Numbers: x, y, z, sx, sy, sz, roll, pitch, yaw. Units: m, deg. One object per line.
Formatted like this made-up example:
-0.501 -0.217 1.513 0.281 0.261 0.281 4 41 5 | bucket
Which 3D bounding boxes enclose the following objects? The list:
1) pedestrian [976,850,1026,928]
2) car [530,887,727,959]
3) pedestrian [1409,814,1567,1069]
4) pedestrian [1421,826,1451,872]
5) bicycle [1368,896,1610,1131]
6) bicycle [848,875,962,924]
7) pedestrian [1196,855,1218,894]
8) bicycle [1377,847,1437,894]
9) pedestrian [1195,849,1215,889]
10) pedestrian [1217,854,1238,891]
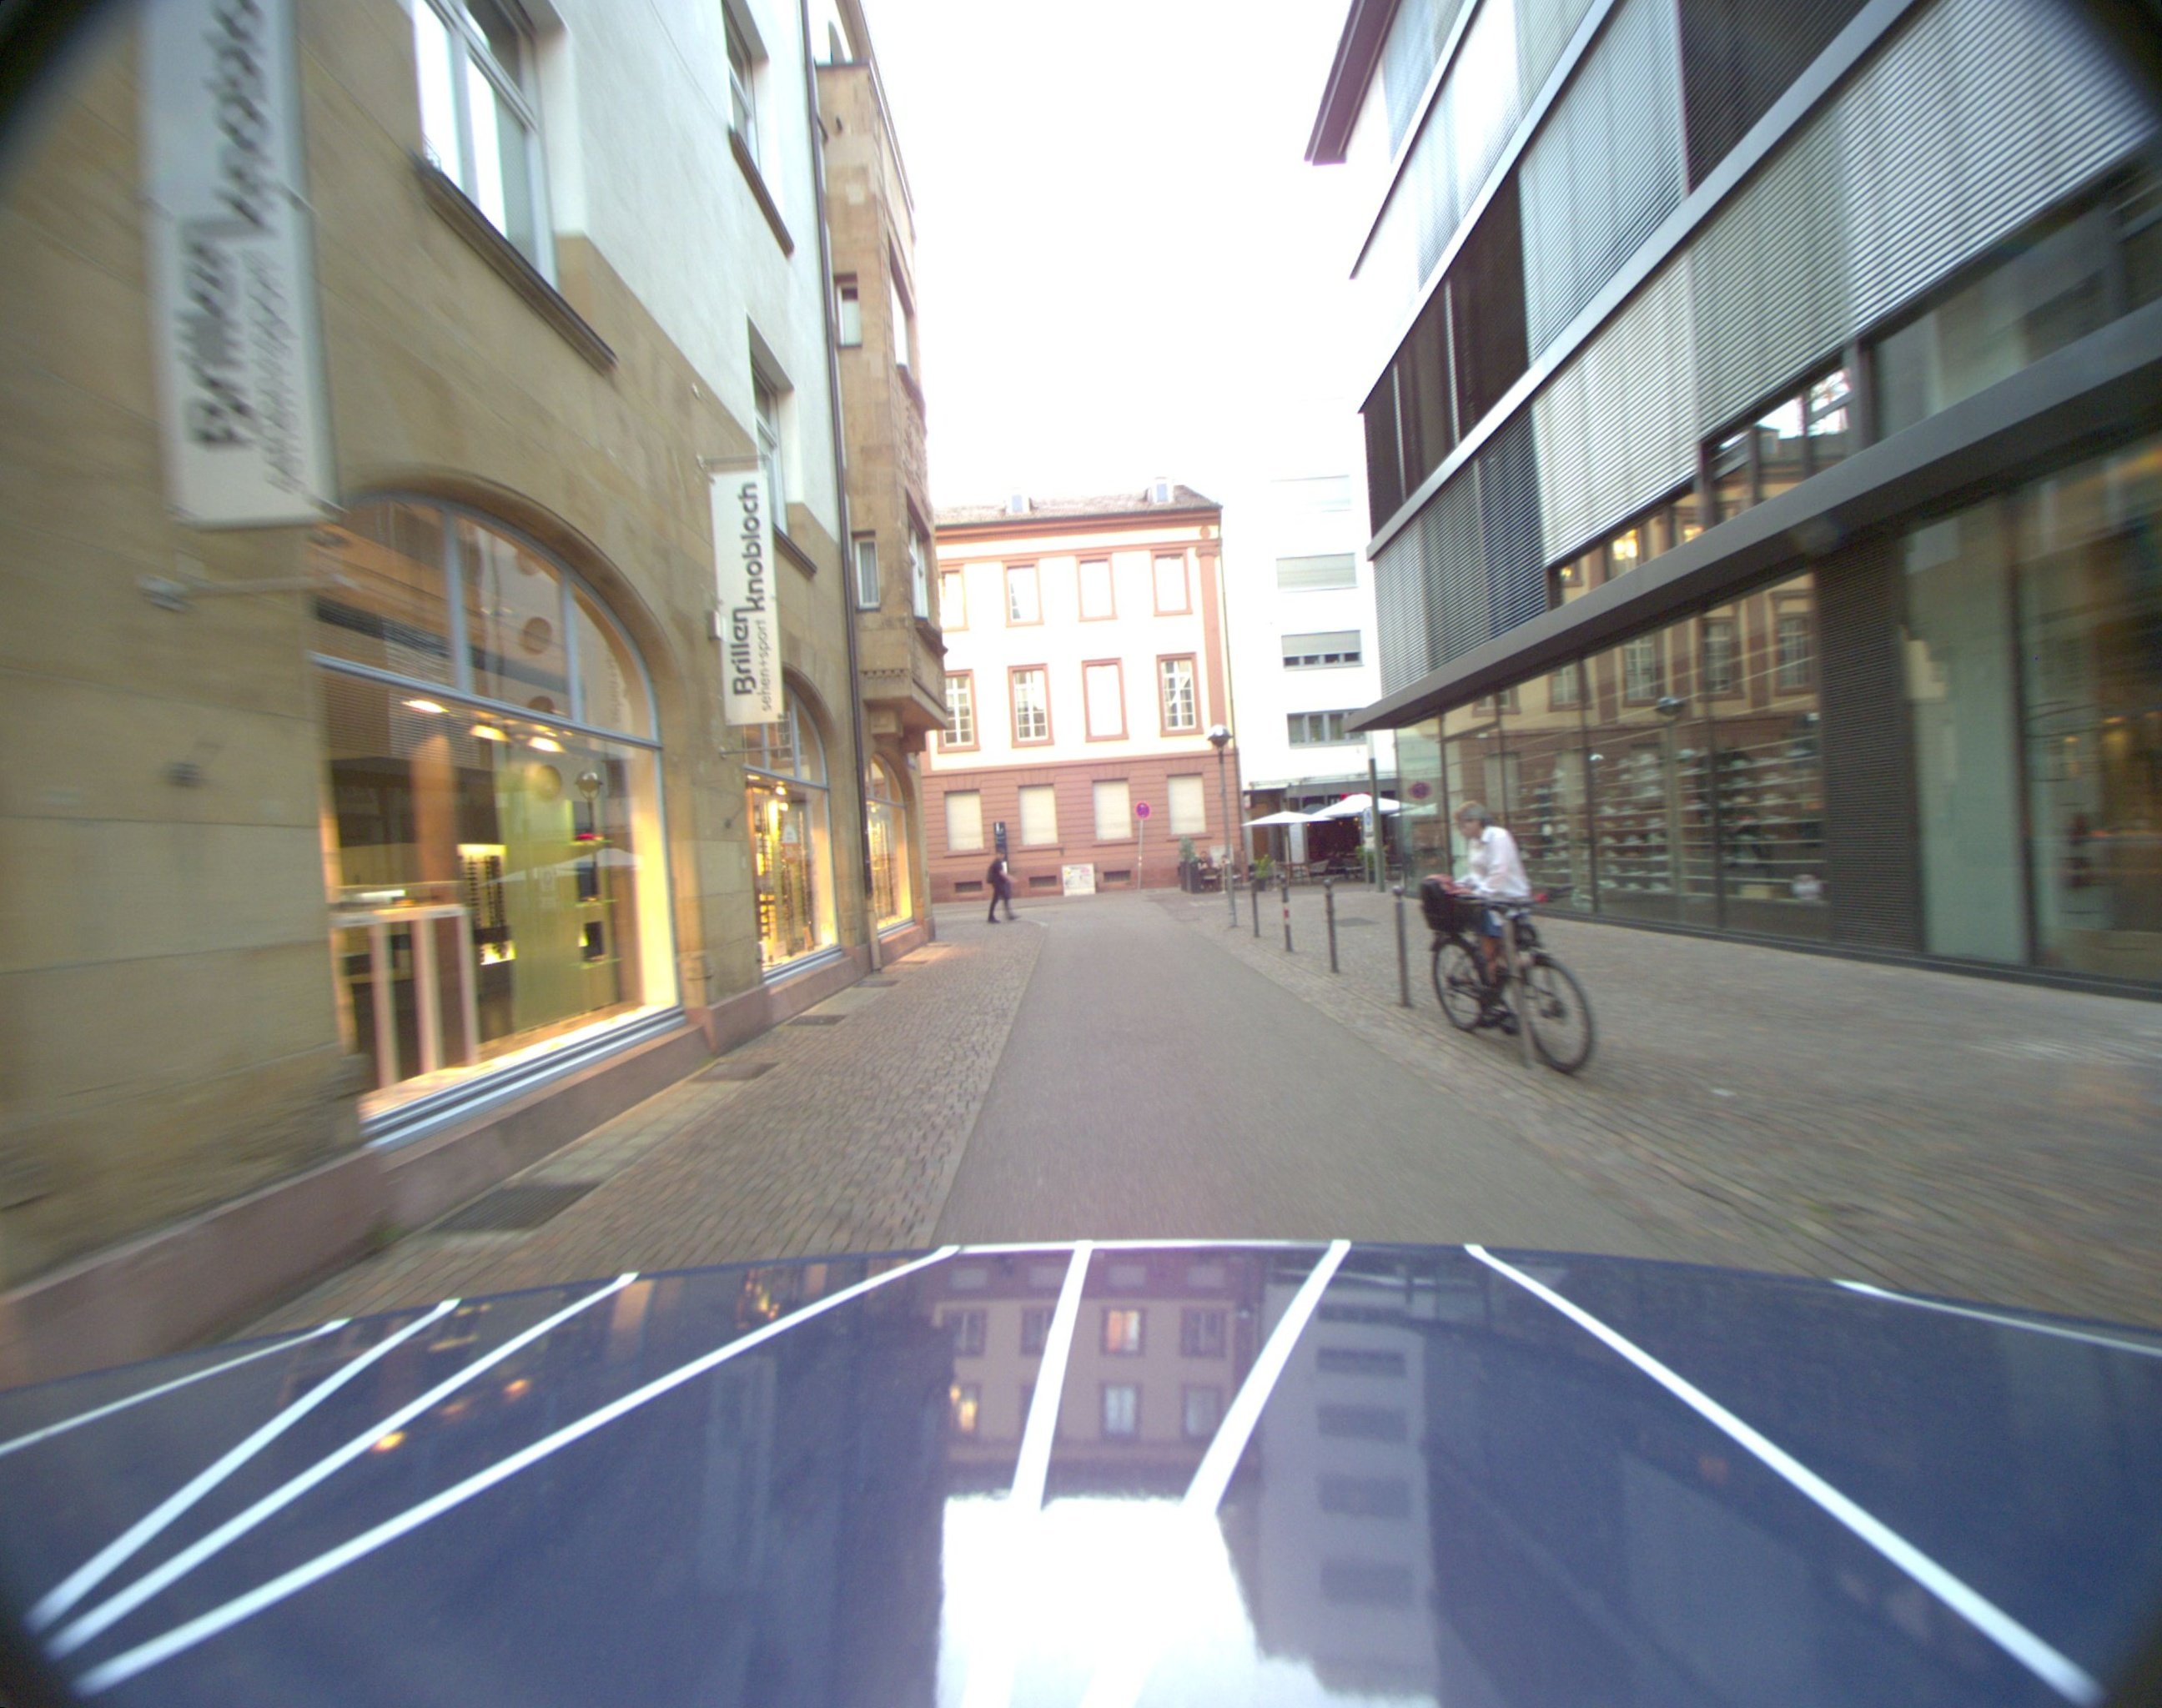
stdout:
-1.941 0.839 18.350 0.969 1.775 0.739 -4 1 -15 | pedestrian
-11.572 1.739 19.602 3.996 1.434 1.650 -4 1 2 | car
3.019 0.603 5.643 0.771 1.708 0.590 -6 1 -31 | pedestrian
13.115 -0.187 28.076 0.671 1.655 0.623 -4 0 -27 | pedestrian
2.619 0.936 5.158 0.534 1.147 1.914 -6 0 0 | bicycle
-5.328 1.365 23.140 3.155 1.252 0.923 -4 0 1 | bicycle
4.046 0.660 24.473 0.561 1.204 0.461 -4 1 2 | pedestrian
8.301 0.433 19.414 0.709 1.106 1.674 -4 -1 -1 | bicycle
4.222 0.511 25.940 0.549 1.341 0.489 -4 1 2 | pedestrian
4.955 0.620 25.684 0.549 1.204 0.524 -4 1 2 | pedestrian
